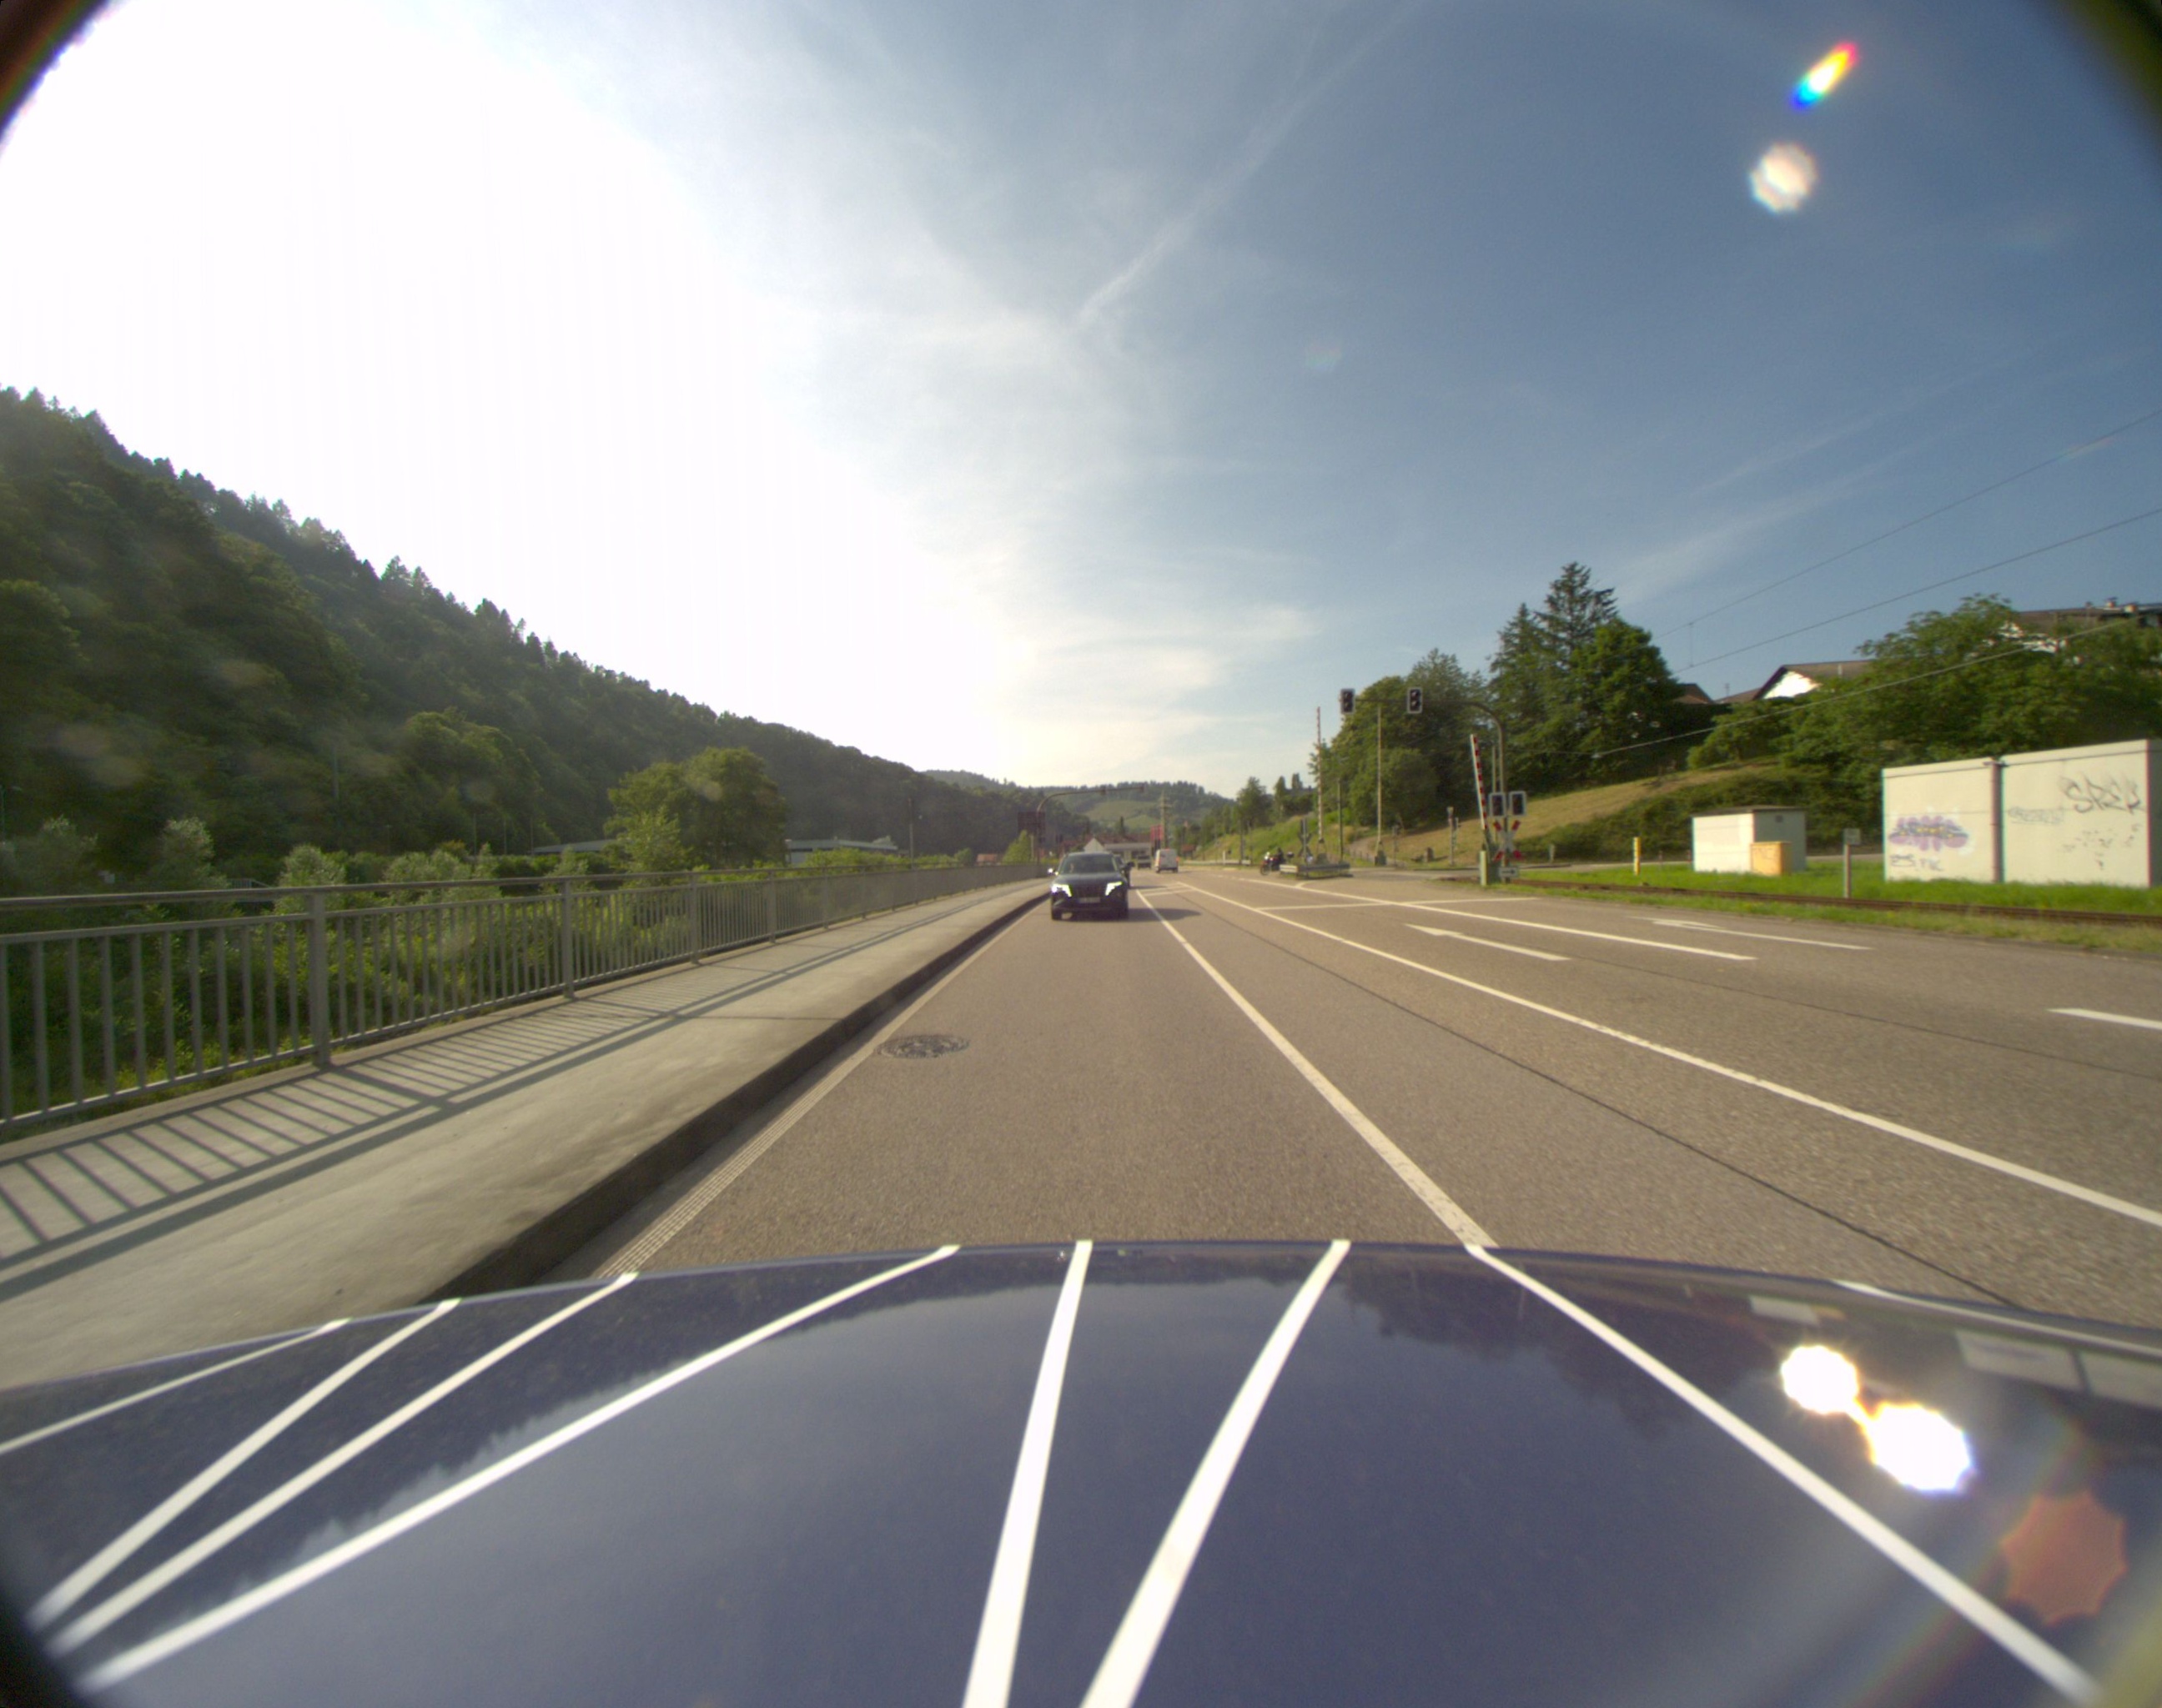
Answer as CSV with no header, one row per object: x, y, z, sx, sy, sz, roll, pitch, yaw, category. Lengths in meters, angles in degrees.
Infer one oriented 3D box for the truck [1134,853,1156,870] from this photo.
9.409,1.070,112.668,2.453,2.252,6.280,-3,0,-1,truck

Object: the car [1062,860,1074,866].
-3.281,2.335,192.388,2.001,1.433,3.995,-4,0,-16,car

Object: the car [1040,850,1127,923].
0.213,0.787,20.153,1.998,1.661,5.512,-1,-1,3,car

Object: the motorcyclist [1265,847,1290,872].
12.765,0.362,49.390,1.186,1.535,0.991,-4,1,-12,motorcyclist

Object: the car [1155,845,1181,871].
8.702,0.437,76.546,2.124,2.422,5.229,-3,0,3,car

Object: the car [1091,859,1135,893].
1.512,1.023,37.350,1.919,1.455,3.999,-2,0,-1,car

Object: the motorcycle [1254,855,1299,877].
12.707,0.754,49.378,2.594,1.261,1.004,-3,0,-13,motorcycle
